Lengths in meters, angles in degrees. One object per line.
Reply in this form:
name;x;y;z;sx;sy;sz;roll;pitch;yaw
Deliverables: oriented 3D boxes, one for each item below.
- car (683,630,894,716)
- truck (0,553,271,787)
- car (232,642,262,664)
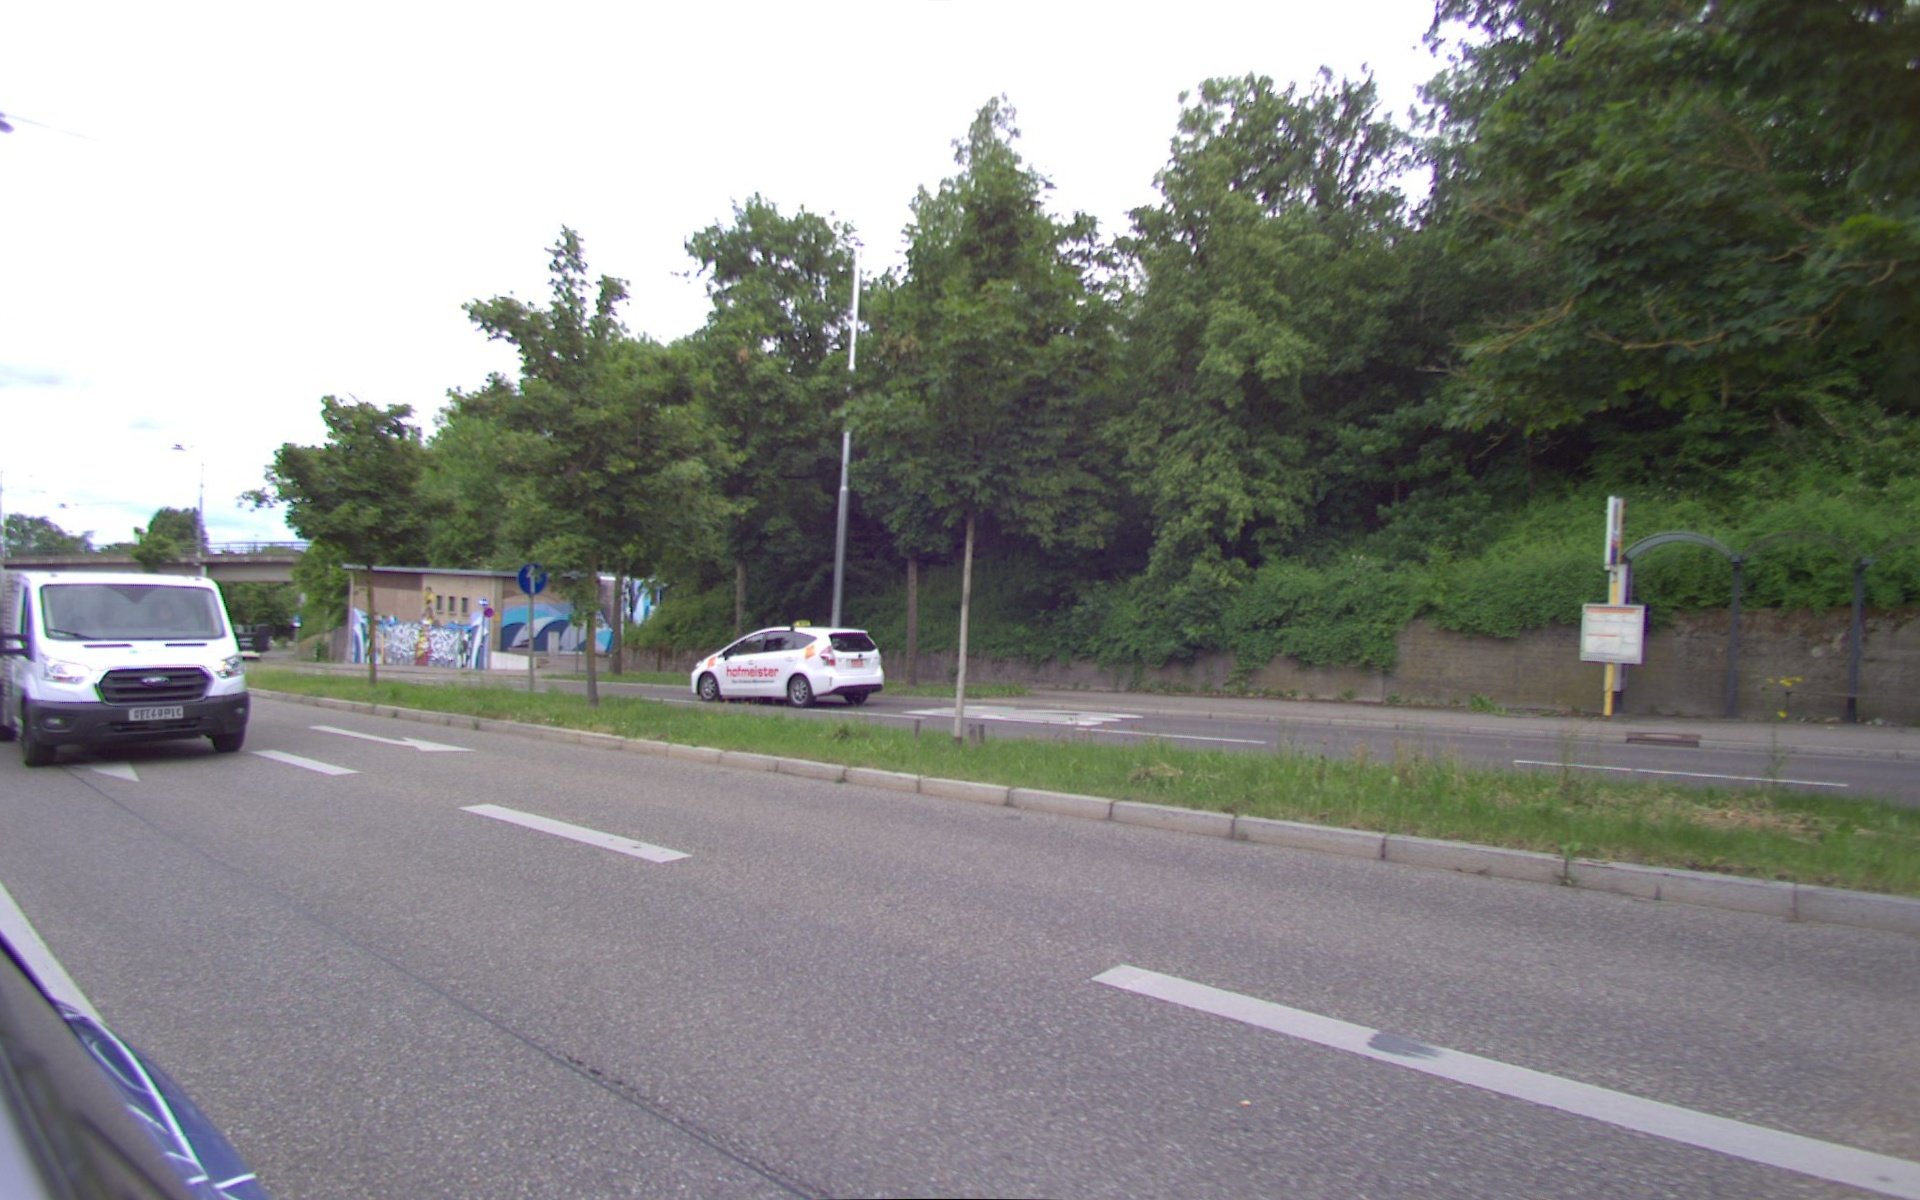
car;-3.616;1.447;20.913;4.452;1.572;1.763;-2;-2;38
truck;-11.099;0.771;12.964;6.326;2.339;2.054;-1;-2;40
car;-49.742;3.685;70.622;1.610;1.431;4.010;0;-2;-34
